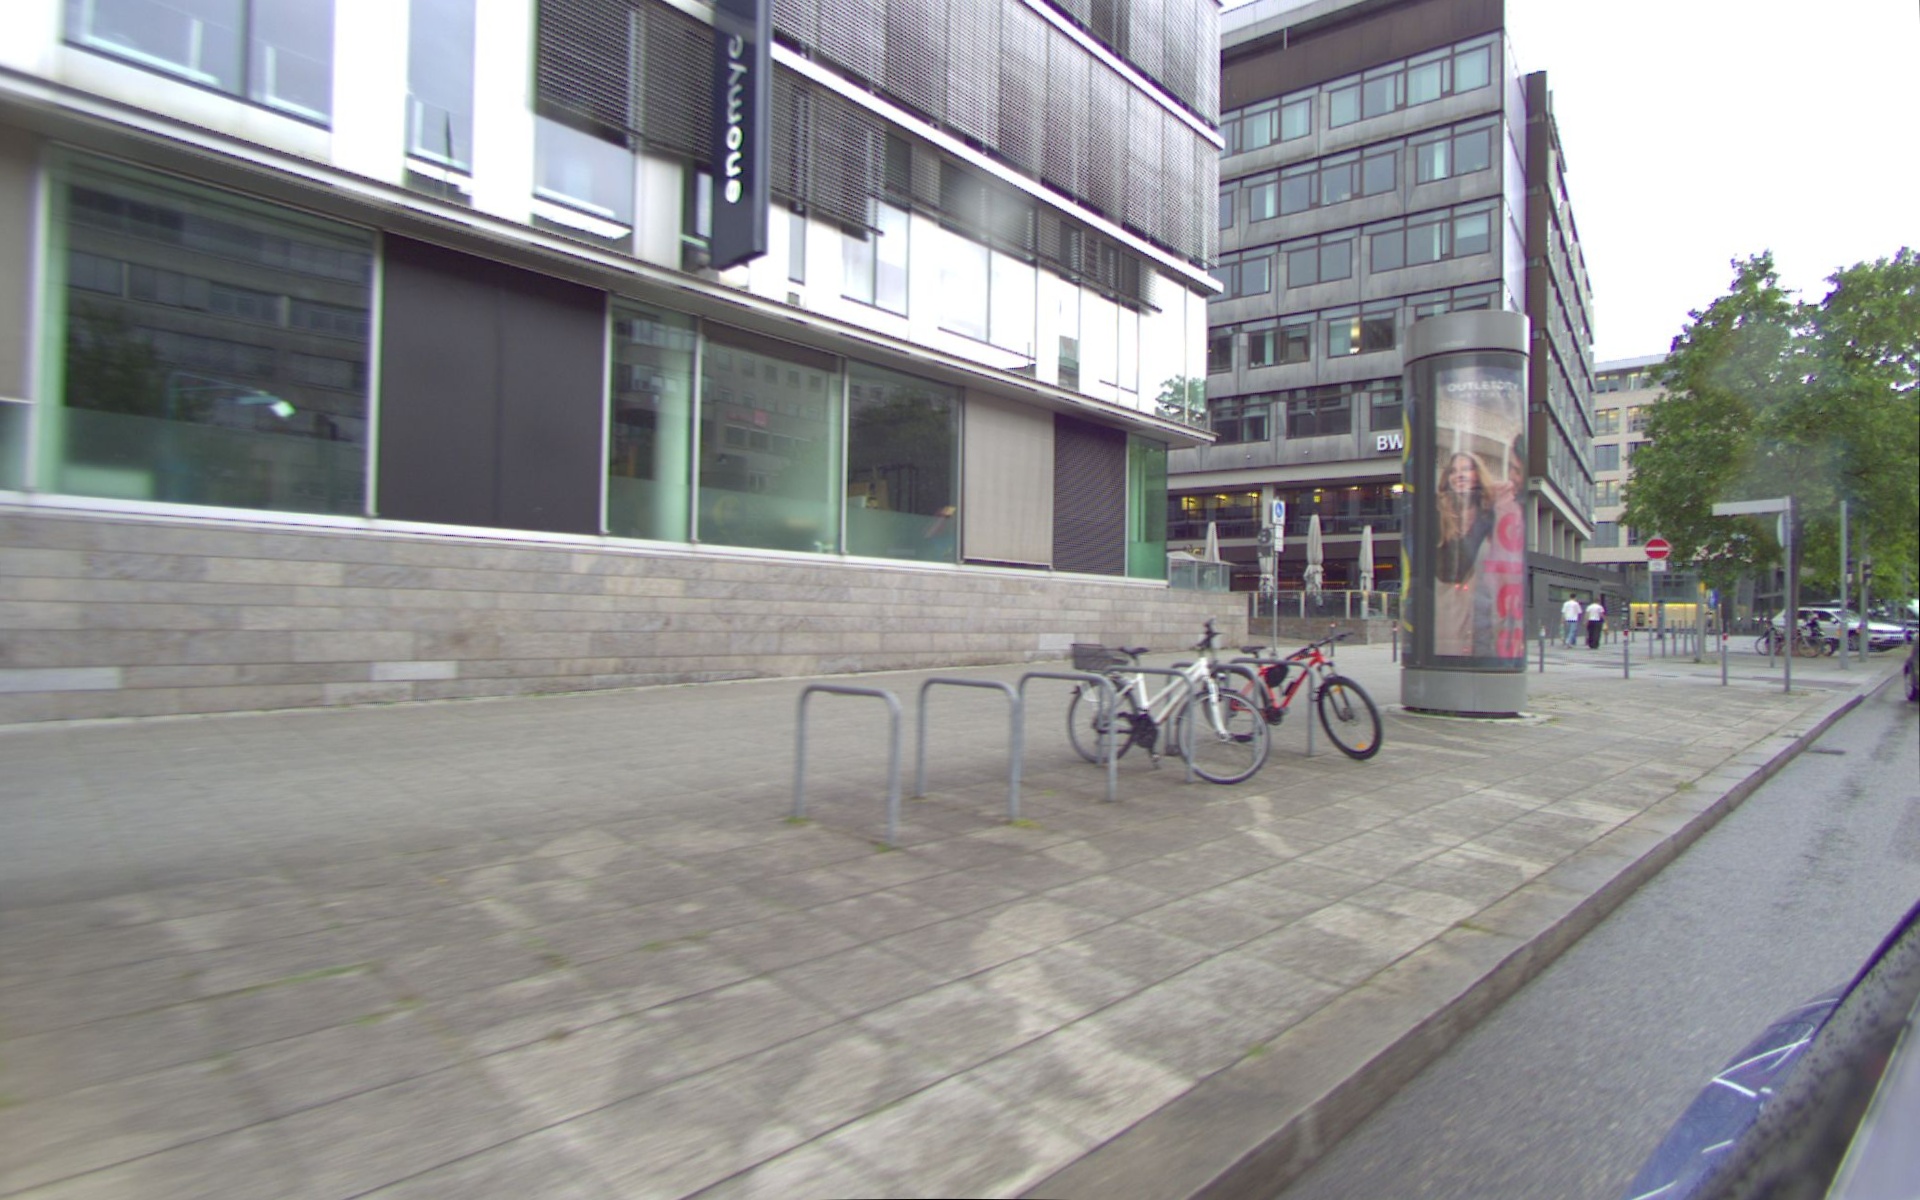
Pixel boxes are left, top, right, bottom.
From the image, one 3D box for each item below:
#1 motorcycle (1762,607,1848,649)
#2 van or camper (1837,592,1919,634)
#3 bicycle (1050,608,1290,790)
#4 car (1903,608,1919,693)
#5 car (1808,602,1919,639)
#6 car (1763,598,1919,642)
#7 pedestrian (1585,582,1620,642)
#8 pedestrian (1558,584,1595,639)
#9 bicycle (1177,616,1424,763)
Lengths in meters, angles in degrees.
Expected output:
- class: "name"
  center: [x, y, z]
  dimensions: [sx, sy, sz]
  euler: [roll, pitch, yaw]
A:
- class: "motorcycle"
  center: [28.435, 0.943, 34.091]
  dimensions: [0.664, 1.375, 2.089]
  euler: [1, -2, -35]
- class: "van or camper"
  center: [57.313, 0.819, 61.208]
  dimensions: [2.267, 2.479, 6.276]
  euler: [0, -1, -13]
- class: "bicycle"
  center: [1.583, 0.693, 7.927]
  dimensions: [0.648, 1.212, 1.840]
  euler: [1, 0, -38]
- class: "car"
  center: [16.406, 0.847, 15.921]
  dimensions: [1.623, 1.435, 3.789]
  euler: [-1, -1, 33]
- class: "car"
  center: [41.265, 0.927, 45.567]
  dimensions: [1.876, 1.557, 4.366]
  euler: [0, -1, -16]
- class: "car"
  center: [35.300, 0.799, 40.469]
  dimensions: [1.876, 1.671, 4.812]
  euler: [0, -1, -13]
- class: "pedestrian"
  center: [22.327, 0.426, 35.150]
  dimensions: [0.740, 2.065, 0.850]
  euler: [1, -2, -43]
- class: "pedestrian"
  center: [21.633, 0.393, 35.518]
  dimensions: [0.881, 1.893, 0.803]
  euler: [1, -2, -35]
- class: "bicycle"
  center: [2.991, 0.727, 9.086]
  dimensions: [0.793, 1.118, 1.988]
  euler: [1, 0, -38]
